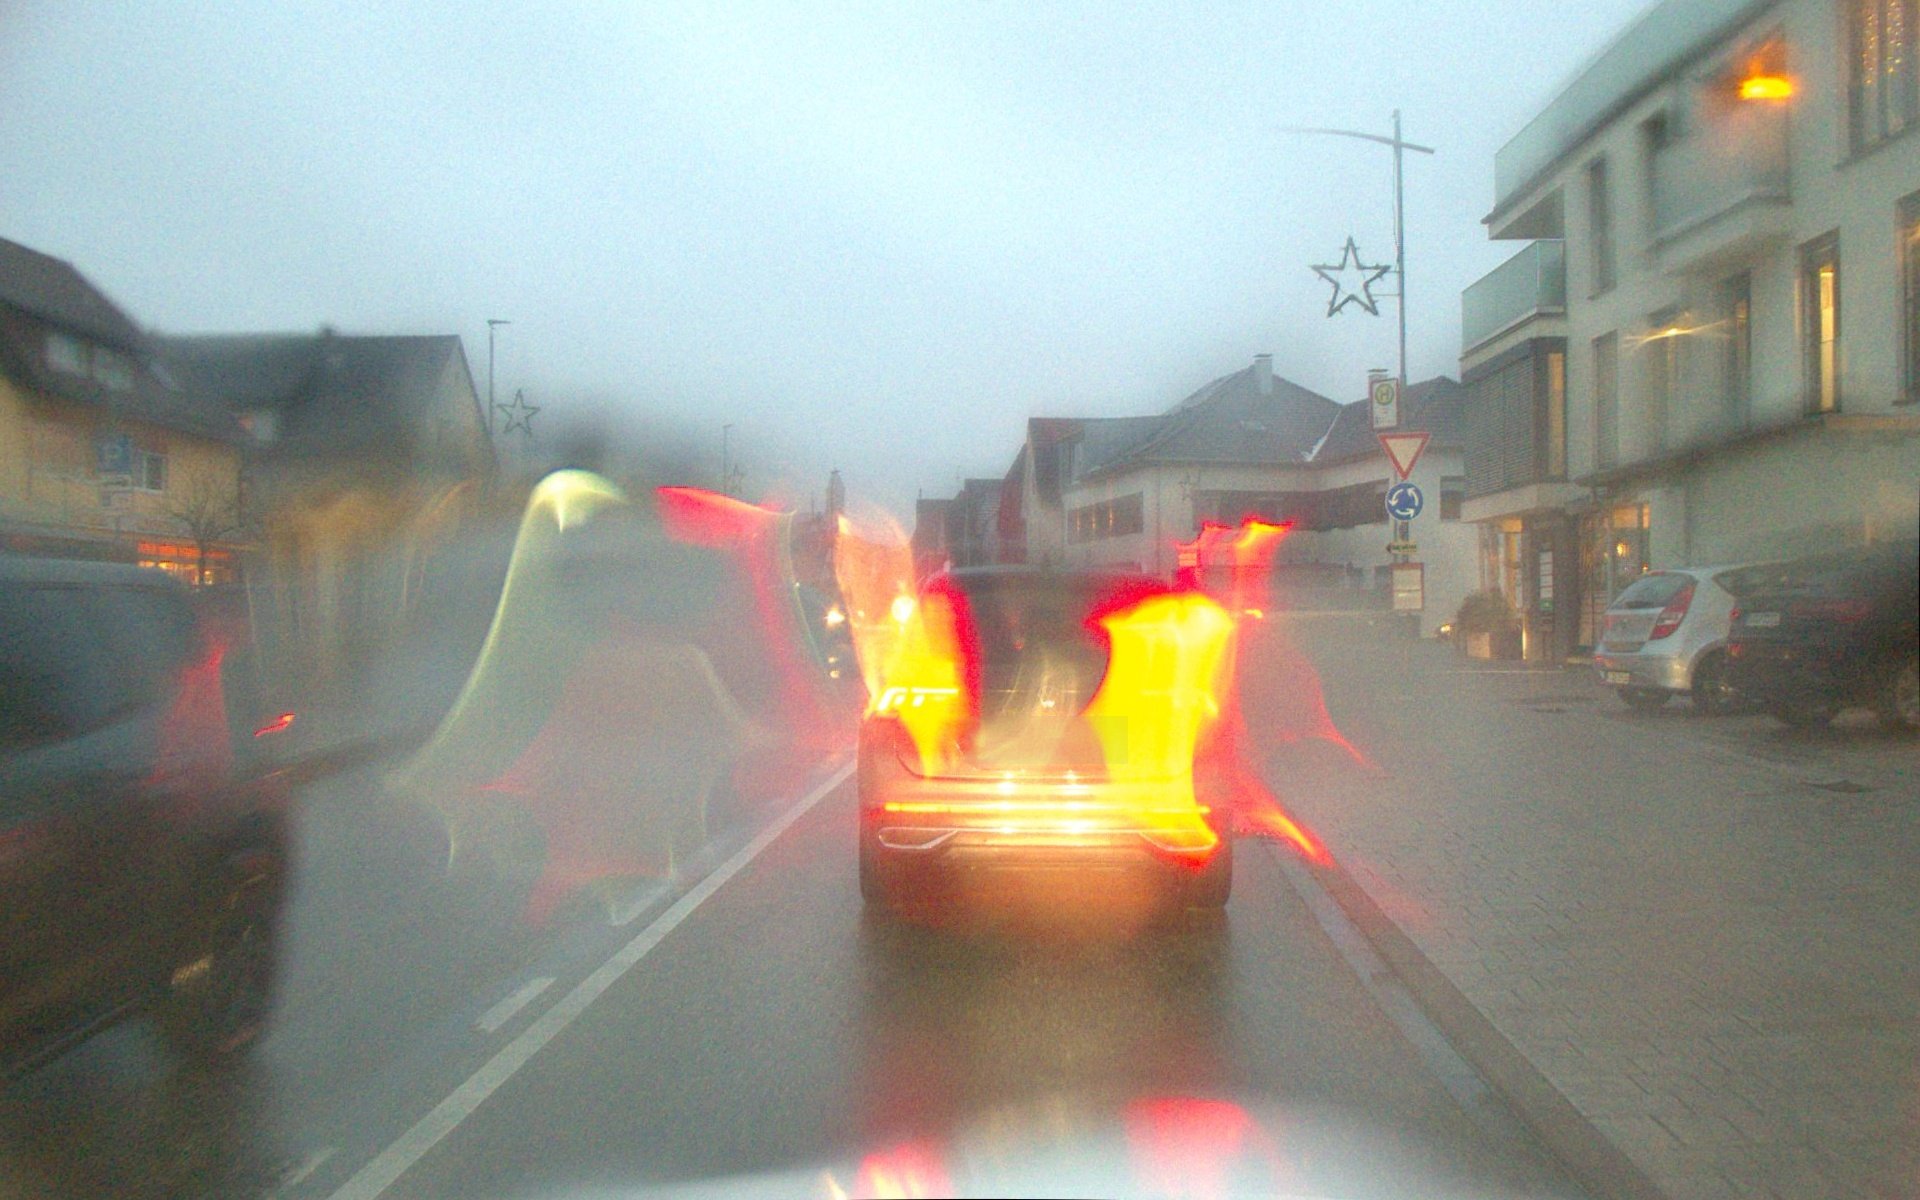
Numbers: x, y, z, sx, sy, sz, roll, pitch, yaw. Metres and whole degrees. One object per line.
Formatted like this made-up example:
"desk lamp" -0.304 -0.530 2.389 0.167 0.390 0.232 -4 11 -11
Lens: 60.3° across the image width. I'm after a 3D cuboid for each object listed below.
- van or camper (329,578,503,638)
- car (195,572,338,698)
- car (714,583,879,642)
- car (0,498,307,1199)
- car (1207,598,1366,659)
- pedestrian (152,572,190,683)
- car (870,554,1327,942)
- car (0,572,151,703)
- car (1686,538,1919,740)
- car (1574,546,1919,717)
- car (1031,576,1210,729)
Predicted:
"van or camper" -18.581 0.265 56.573 5.412 1.989 2.002 0 0 14
"car" -11.823 0.532 28.055 2.012 1.959 4.023 -1 0 -26
"car" -4.399 0.327 44.629 3.905 1.443 2.000 -1 1 22
"car" -3.071 0.615 3.699 1.702 1.682 3.999 -1 0 -2
"car" 9.111 0.806 46.190 3.930 1.505 1.987 3 -2 -21
"pedestrian" -12.681 0.434 26.594 0.490 1.731 0.707 -2 1 -26
"car" 0.637 0.615 9.223 1.924 1.622 4.314 1 0 1
"car" -14.363 0.547 27.029 2.012 1.959 4.023 -1 0 -26
"car" 8.439 0.210 13.610 4.124 1.485 1.791 -3 0 -5
"car" 8.634 0.258 16.732 4.124 1.485 1.791 -3 0 -5
"car" 1.658 0.503 18.208 1.647 1.478 4.001 1 0 1
